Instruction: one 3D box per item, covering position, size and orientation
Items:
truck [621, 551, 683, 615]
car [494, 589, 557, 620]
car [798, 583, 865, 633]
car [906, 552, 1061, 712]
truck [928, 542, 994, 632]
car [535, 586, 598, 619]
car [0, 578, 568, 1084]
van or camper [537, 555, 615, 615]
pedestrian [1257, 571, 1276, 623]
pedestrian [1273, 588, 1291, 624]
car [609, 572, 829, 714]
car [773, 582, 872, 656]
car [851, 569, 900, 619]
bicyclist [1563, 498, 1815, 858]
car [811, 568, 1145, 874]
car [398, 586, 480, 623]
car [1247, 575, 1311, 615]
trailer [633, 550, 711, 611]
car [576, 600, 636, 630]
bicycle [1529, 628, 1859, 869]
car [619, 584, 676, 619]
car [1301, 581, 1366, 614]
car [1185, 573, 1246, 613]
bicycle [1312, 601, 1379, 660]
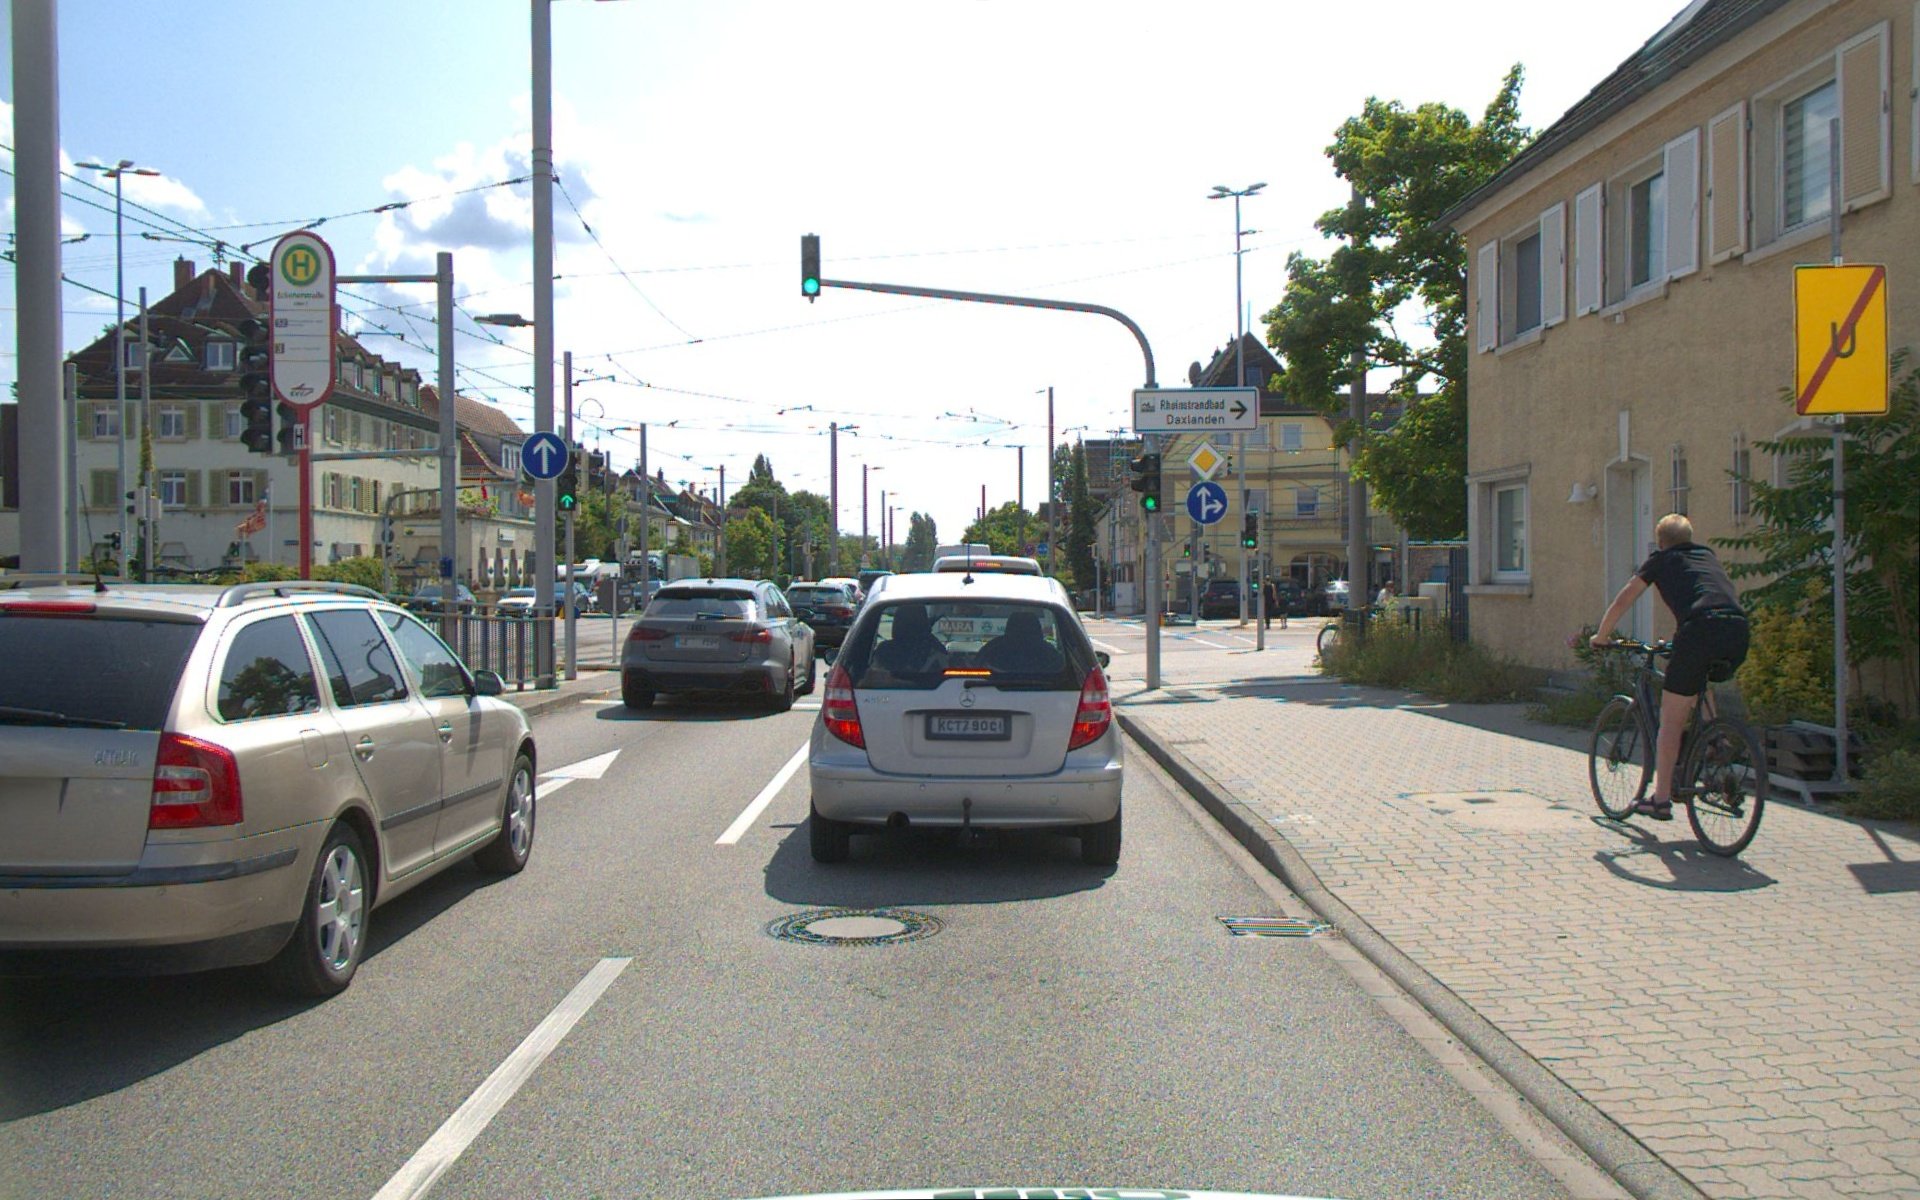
[{"bbox_3d":[-19.985,-1.138,107.553,2.545,3.887,5.669,-3,1,2],"label":"truck"},{"bbox_3d":[-20.315,0.206,77.468,1.649,1.375,4.346,1,0,1],"label":"car"},{"bbox_3d":[-3.823,0.227,49.800,1.815,1.413,3.917,1,0,-2],"label":"car"},{"bbox_3d":[0.203,0.369,20.807,1.695,1.793,4.014,1,0,-3],"label":"car"},{"bbox_3d":[-0.037,-0.377,51.724,1.815,2.597,5.852,1,0,-2],"label":"truck"},{"bbox_3d":[-16.782,0.106,70.762,1.650,1.375,4.177,1,0,0],"label":"car"},{"bbox_3d":[-2.989,0.674,6.926,1.695,1.474,4.123,1,0,0],"label":"car"},{"bbox_3d":[-20.302,-0.799,87.736,2.276,2.981,7.754,-1,0,0],"label":"van or camper"},{"bbox_3d":[9.873,-0.087,53.241,0.535,1.672,0.401,1,0,4],"label":"pedestrian"},{"bbox_3d":[10.405,0.203,53.439,0.477,1.156,0.389,1,0,2],"label":"pedestrian"},{"bbox_3d":[-2.787,0.459,20.164,1.877,1.503,4.563,1,0,1],"label":"car"},{"bbox_3d":[-2.807,0.382,34.556,1.815,1.413,4.512,1,0,-2],"label":"car"},{"bbox_3d":[-3.285,-0.231,64.857,1.815,1.875,3.917,1,0,-2],"label":"car"},{"bbox_3d":[3.954,0.390,9.059,0.812,1.825,1.083,-2,1,-5],"label":"bicyclist"},{"bbox_3d":[0.010,0.628,10.500,1.695,1.543,4.014,1,0,-3],"label":"car"},{"bbox_3d":[-20.606,0.177,65.559,1.649,1.375,4.347,1,0,3],"label":"car"},{"bbox_3d":[13.707,-0.217,71.246,1.953,1.624,4.131,1,0,0],"label":"car"},{"bbox_3d":[-19.766,-1.398,114.417,2.545,3.887,12.841,-3,1,2],"label":"trailer"},{"bbox_3d":[-17.135,0.728,80.245,1.953,1.375,4.177,1,0,0],"label":"car"},{"bbox_3d":[3.960,0.744,9.134,0.812,1.094,1.969,-2,1,-4],"label":"bicycle"},{"bbox_3d":[-17.054,0.058,90.534,1.952,1.807,4.880,-2,1,2],"label":"car"},{"bbox_3d":[16.105,-0.097,71.495,1.829,1.375,4.131,1,0,0],"label":"car"},{"bbox_3d":[10.941,-0.278,70.994,1.953,1.624,4.131,1,0,0],"label":"car"},{"bbox_3d":[6.995,0.543,29.964,0.455,1.036,1.747,1,0,39],"label":"bicycle"}]
